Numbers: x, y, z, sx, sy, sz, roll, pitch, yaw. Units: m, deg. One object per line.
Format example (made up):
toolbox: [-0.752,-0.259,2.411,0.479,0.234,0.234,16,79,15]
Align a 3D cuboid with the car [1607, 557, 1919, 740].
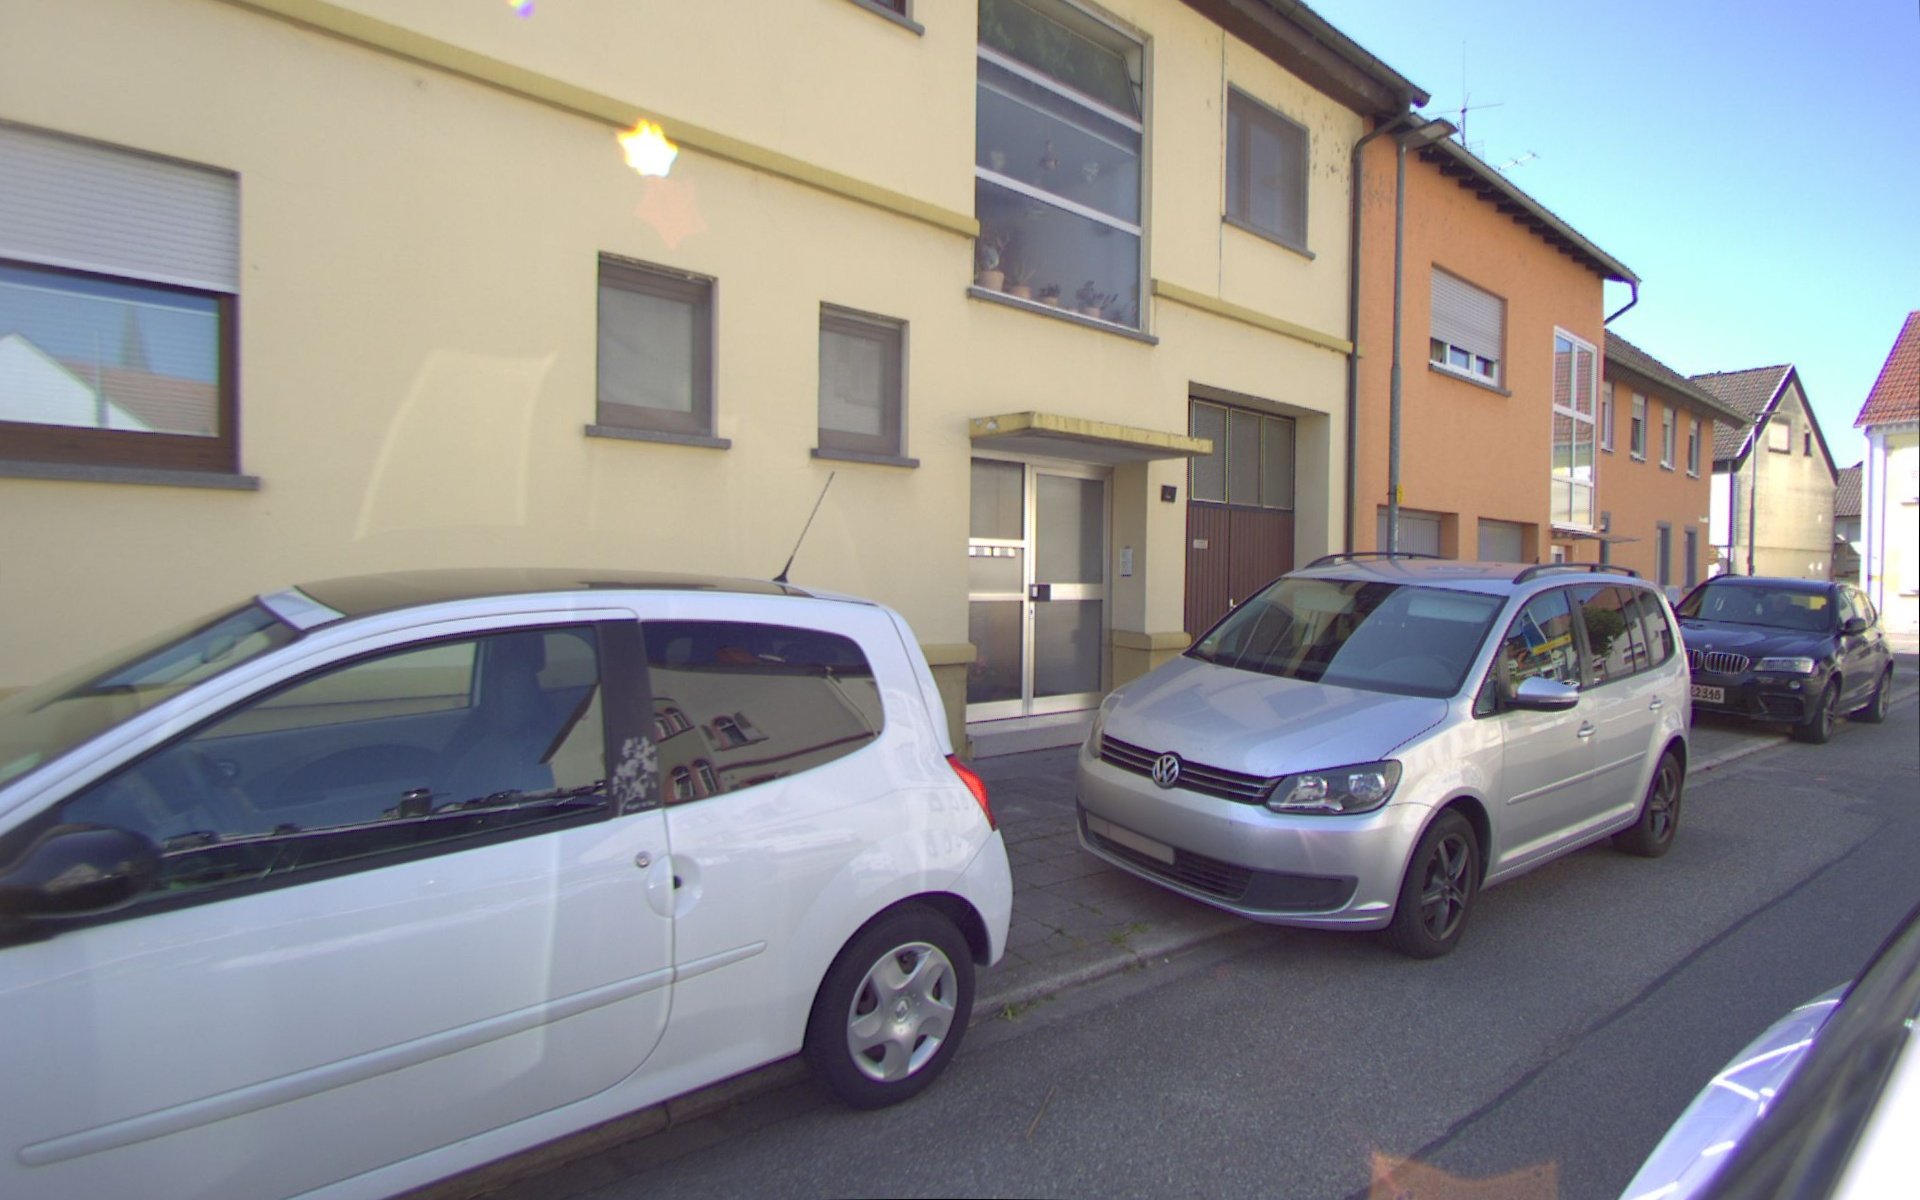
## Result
car: [9.671,0.418,11.951,5.086,1.723,1.849,0,2,-39]

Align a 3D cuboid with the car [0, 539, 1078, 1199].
car: [-1.542,0.592,2.684,3.653,1.455,1.555,-1,3,-39]

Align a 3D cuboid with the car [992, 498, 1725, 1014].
car: [2.368,0.495,5.494,4.172,1.749,1.903,-1,1,-39]
